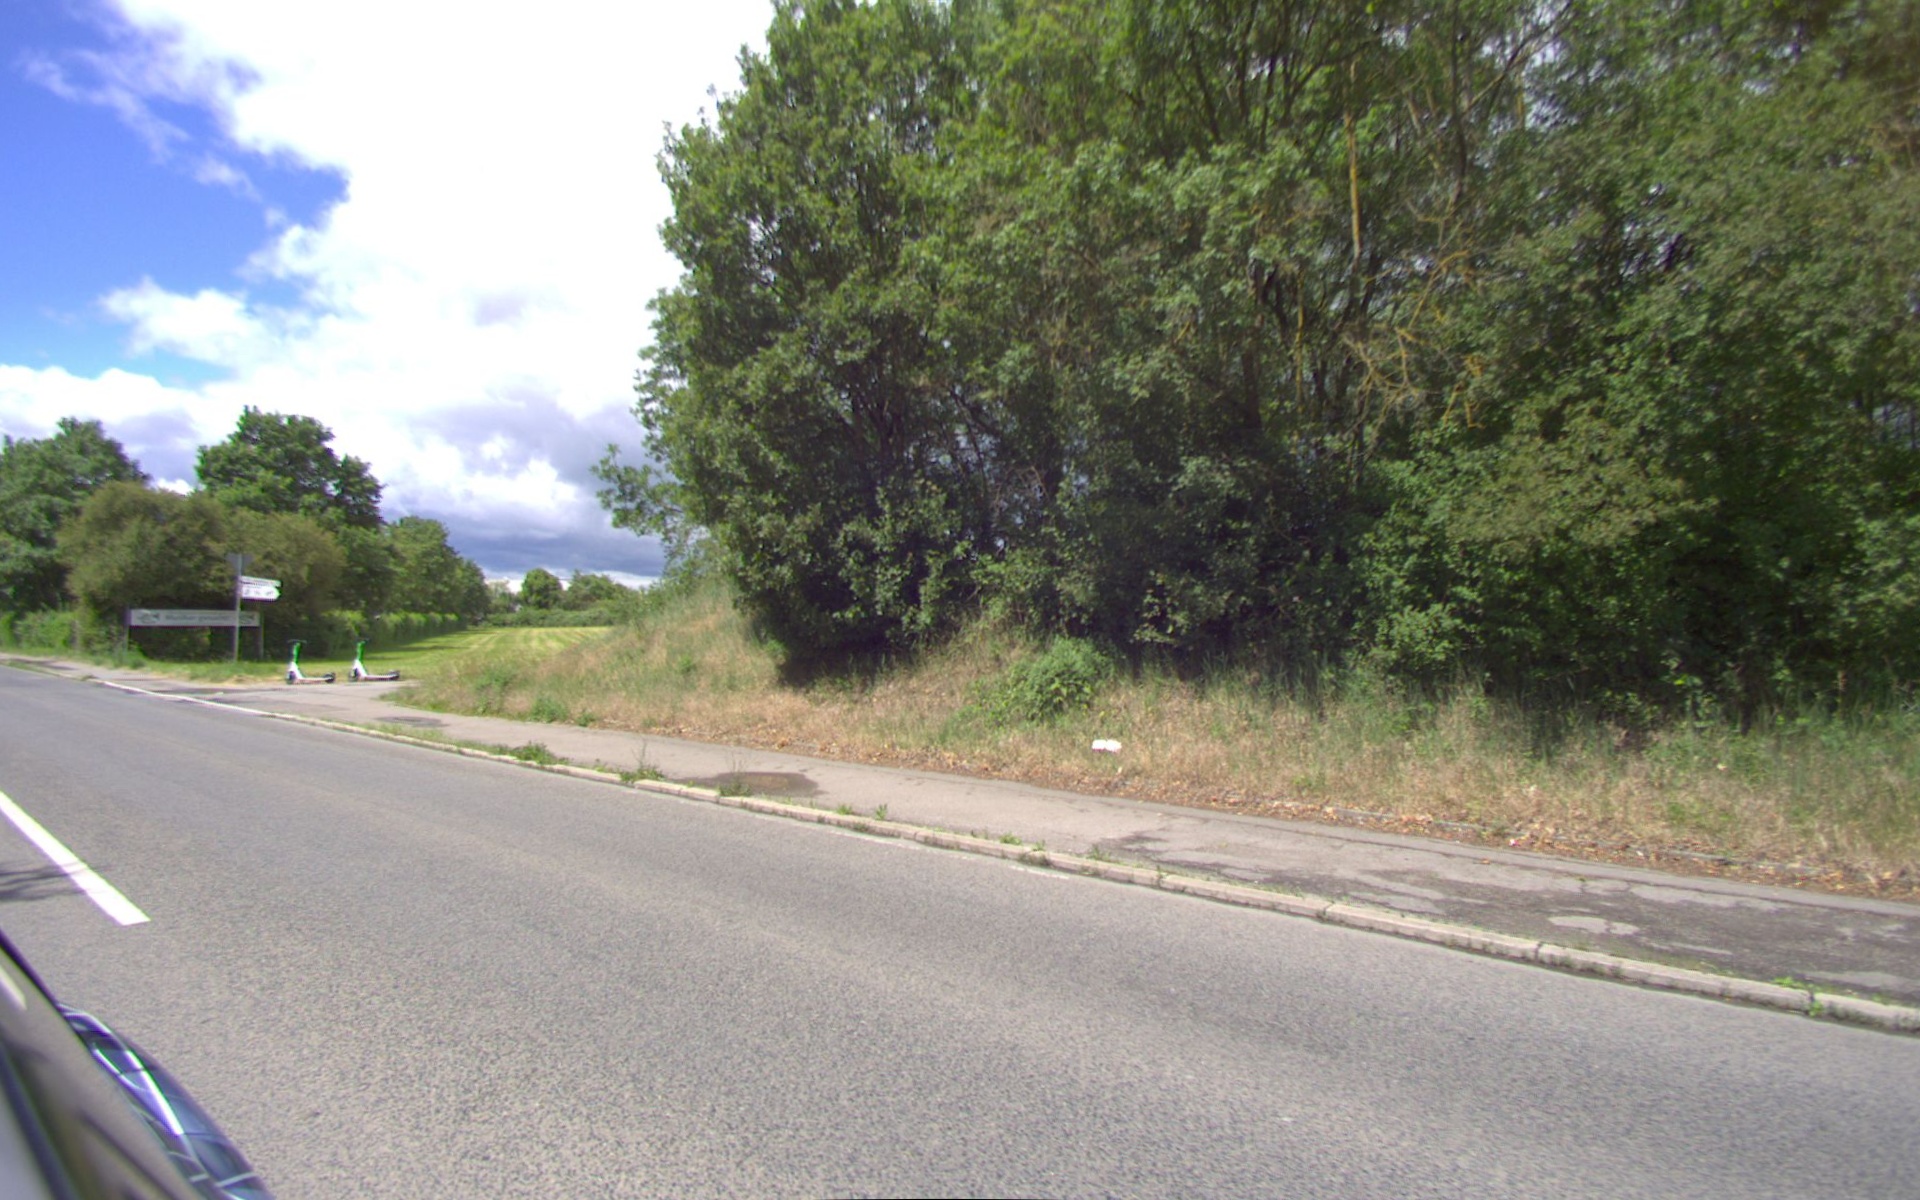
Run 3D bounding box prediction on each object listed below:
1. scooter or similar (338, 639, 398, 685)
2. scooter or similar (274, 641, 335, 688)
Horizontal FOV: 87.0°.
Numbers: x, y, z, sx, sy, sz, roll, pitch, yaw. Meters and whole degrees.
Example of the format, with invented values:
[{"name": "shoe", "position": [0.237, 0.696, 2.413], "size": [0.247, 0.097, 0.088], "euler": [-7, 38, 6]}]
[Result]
[{"name": "scooter or similar", "position": [-15.836, 1.661, 27.077], "size": [1.329, 1.177, 0.407], "euler": [-1, -1, -8]}, {"name": "scooter or similar", "position": [-17.173, 1.679, 26.525], "size": [1.331, 1.177, 0.407], "euler": [-1, -1, -3]}]
